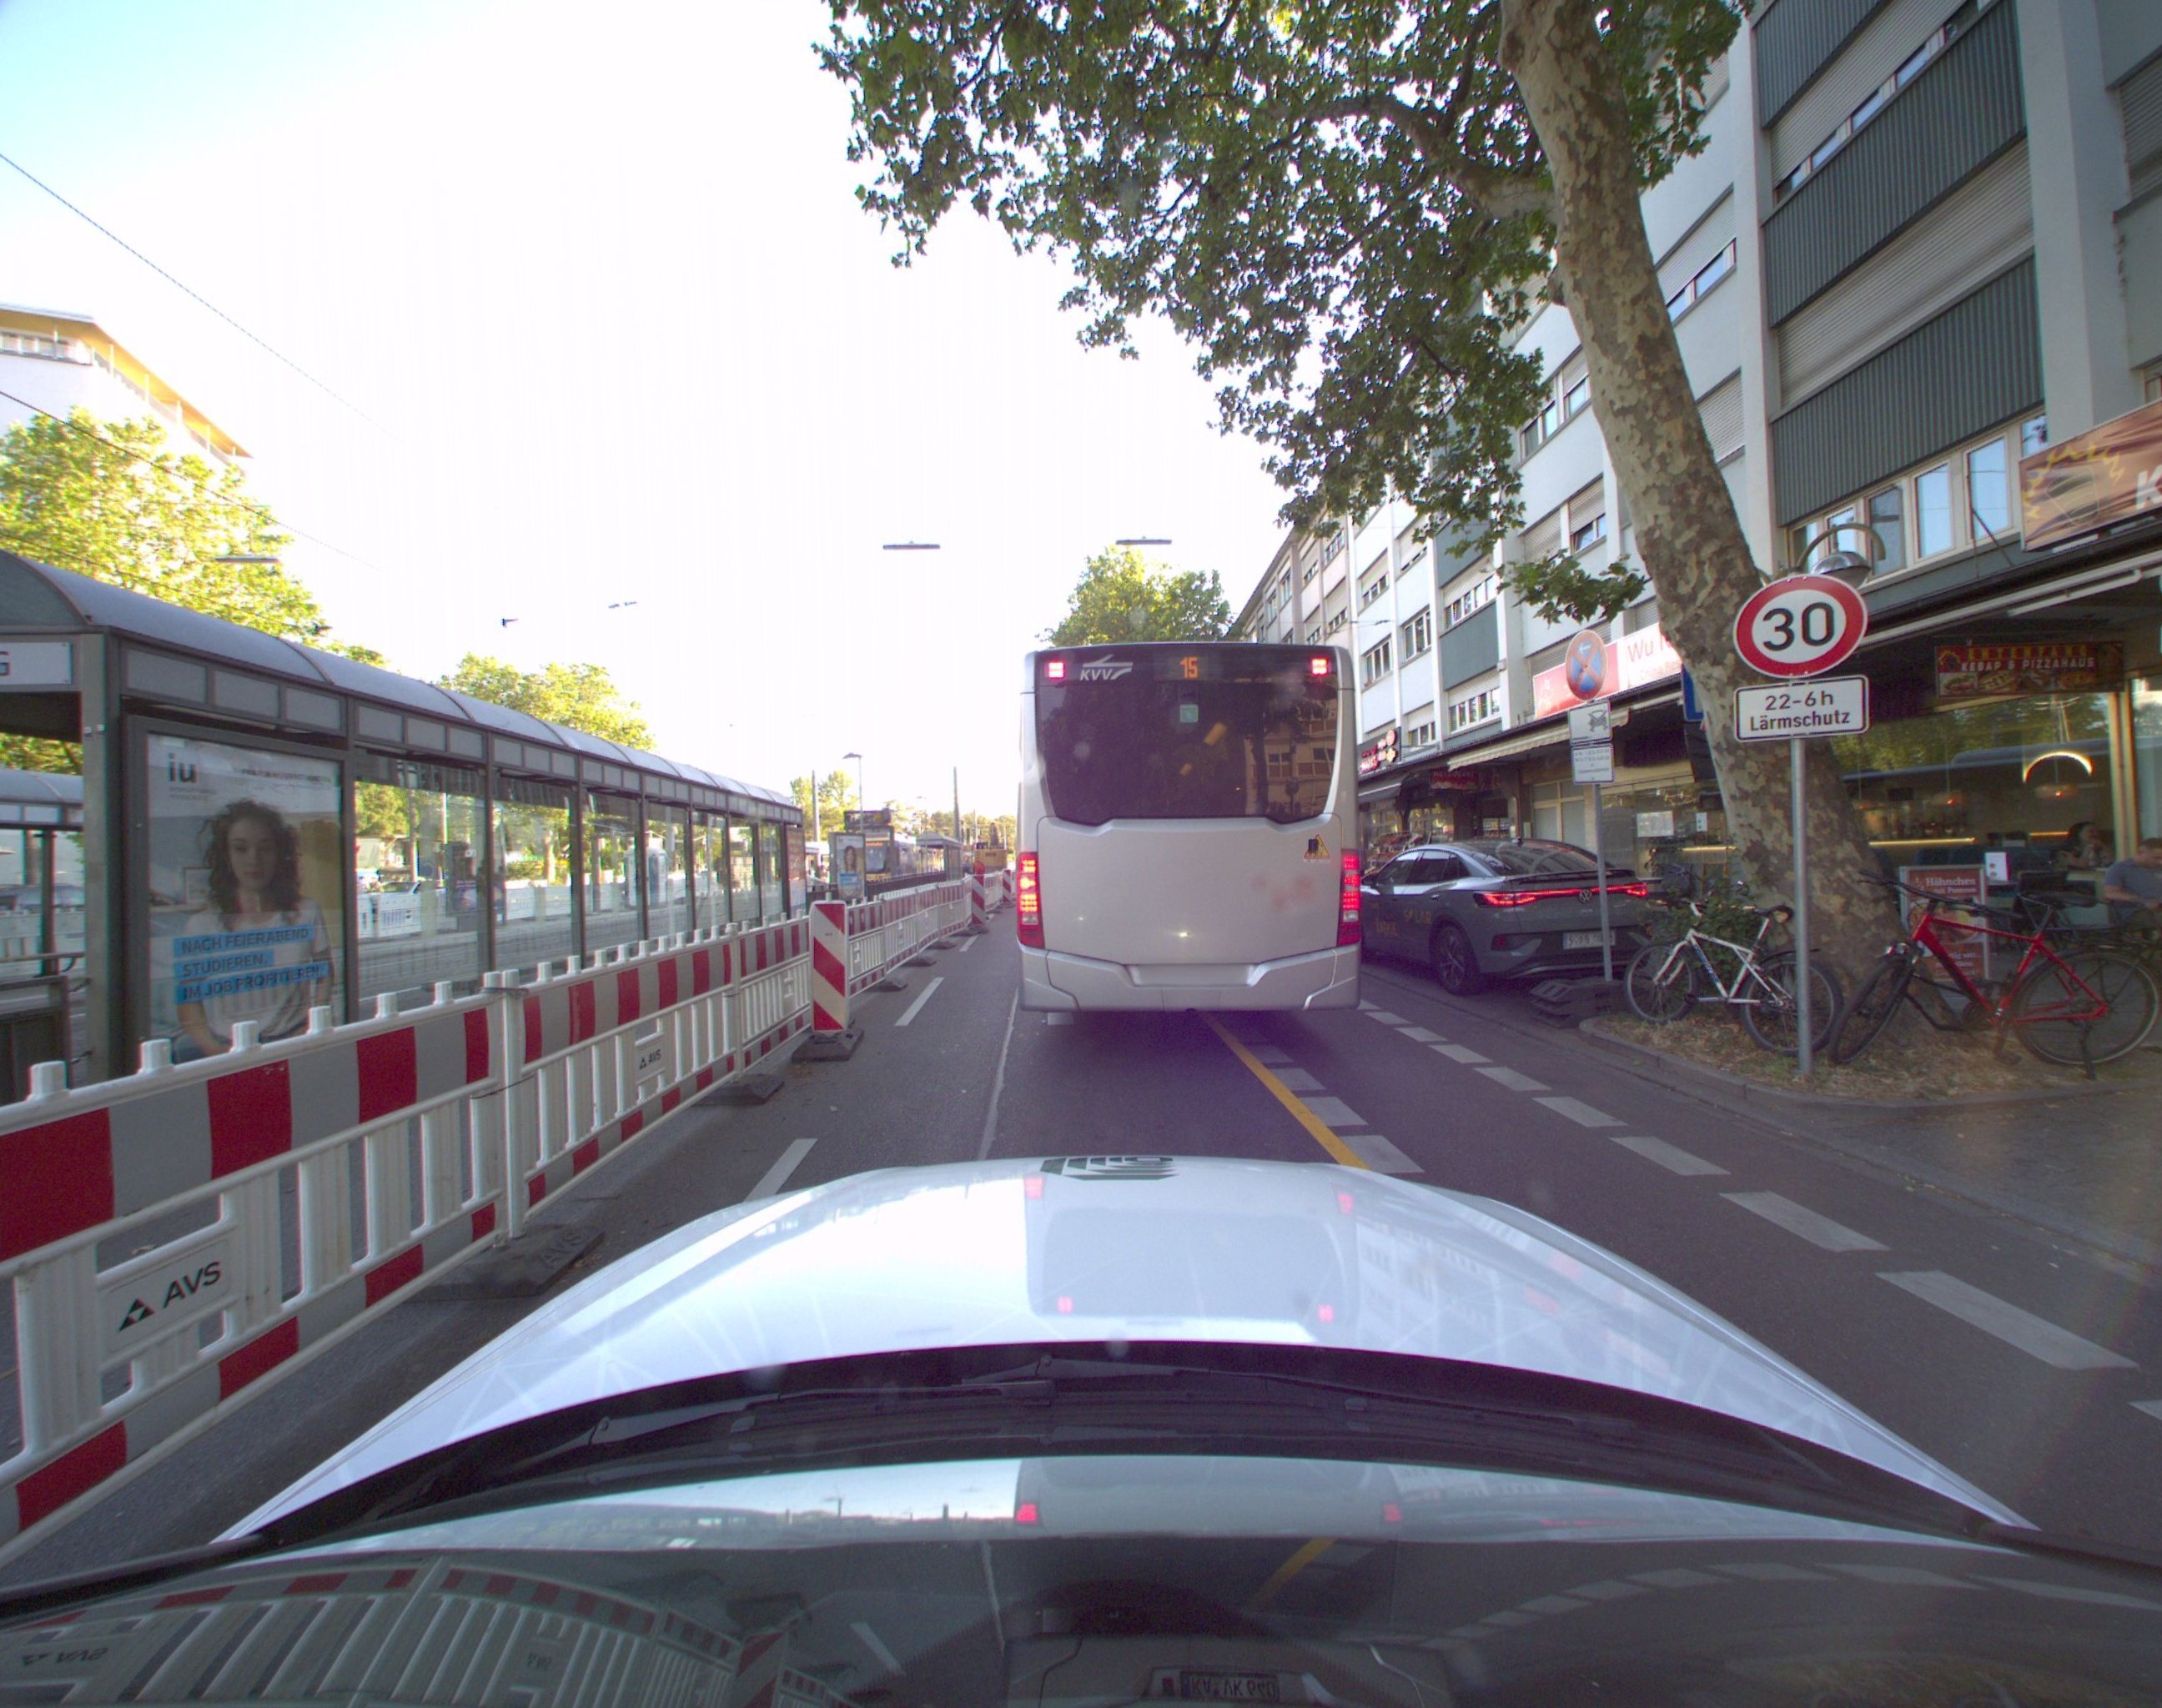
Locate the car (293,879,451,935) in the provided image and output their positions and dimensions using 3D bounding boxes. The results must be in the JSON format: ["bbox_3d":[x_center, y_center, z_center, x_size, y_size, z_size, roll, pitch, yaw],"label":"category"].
[{"bbox_3d":[-24.480,1.771,28.332,1.988,1.662,3.997,-2,0,-1],"label":"car"}]

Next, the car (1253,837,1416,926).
[{"bbox_3d":[5.382,0.530,17.964,1.989,1.582,4.364,-4,0,-3],"label":"car"}]

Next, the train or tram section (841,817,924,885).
[{"bbox_3d":[-11.445,-0.103,48.211,2.681,3.534,11.756,0,-1,-3],"label":"train or tram section"}]

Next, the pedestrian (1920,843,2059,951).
[{"bbox_3d":[9.841,0.445,8.839,0.643,1.081,0.945,-2,-1,-39],"label":"pedestrian"}]

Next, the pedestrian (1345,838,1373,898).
[{"bbox_3d":[8.013,0.397,23.514,0.658,1.666,0.603,-4,-1,18],"label":"pedestrian"}]

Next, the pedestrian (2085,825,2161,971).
[{"bbox_3d":[9.624,0.377,7.211,0.555,1.245,0.692,-4,0,8],"label":"pedestrian"}]

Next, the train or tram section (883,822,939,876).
[{"bbox_3d":[-12.285,-0.295,59.871,2.682,3.558,11.559,0,-1,-5],"label":"train or tram section"}]

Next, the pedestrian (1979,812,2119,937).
[{"bbox_3d":[11.064,0.219,9.331,0.836,1.333,0.963,-2,-1,-39],"label":"pedestrian"}]

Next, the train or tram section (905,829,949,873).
[{"bbox_3d":[-13.333,-0.231,71.382,2.683,3.533,11.558,0,-1,-6],"label":"train or tram section"}]

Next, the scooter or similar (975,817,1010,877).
[{"bbox_3d":[-6.979,-0.536,64.721,2.465,4.471,5.961,-2,-1,-5],"label":"scooter or similar"}]

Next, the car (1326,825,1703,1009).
[{"bbox_3d":[4.725,0.581,9.799,1.989,1.582,4.364,-4,0,-3],"label":"car"}]

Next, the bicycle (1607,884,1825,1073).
[{"bbox_3d":[4.555,0.832,5.971,0.550,1.155,1.446,-2,-1,6],"label":"bicycle"}]

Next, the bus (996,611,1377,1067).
[{"bbox_3d":[0.853,-0.079,9.599,2.601,3.126,7.996,0,0,2],"label":"bus"}]

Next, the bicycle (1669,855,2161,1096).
[{"bbox_3d":[5.038,0.718,4.829,2.370,1.155,0.557,-7,-2,14],"label":"bicycle"}]
